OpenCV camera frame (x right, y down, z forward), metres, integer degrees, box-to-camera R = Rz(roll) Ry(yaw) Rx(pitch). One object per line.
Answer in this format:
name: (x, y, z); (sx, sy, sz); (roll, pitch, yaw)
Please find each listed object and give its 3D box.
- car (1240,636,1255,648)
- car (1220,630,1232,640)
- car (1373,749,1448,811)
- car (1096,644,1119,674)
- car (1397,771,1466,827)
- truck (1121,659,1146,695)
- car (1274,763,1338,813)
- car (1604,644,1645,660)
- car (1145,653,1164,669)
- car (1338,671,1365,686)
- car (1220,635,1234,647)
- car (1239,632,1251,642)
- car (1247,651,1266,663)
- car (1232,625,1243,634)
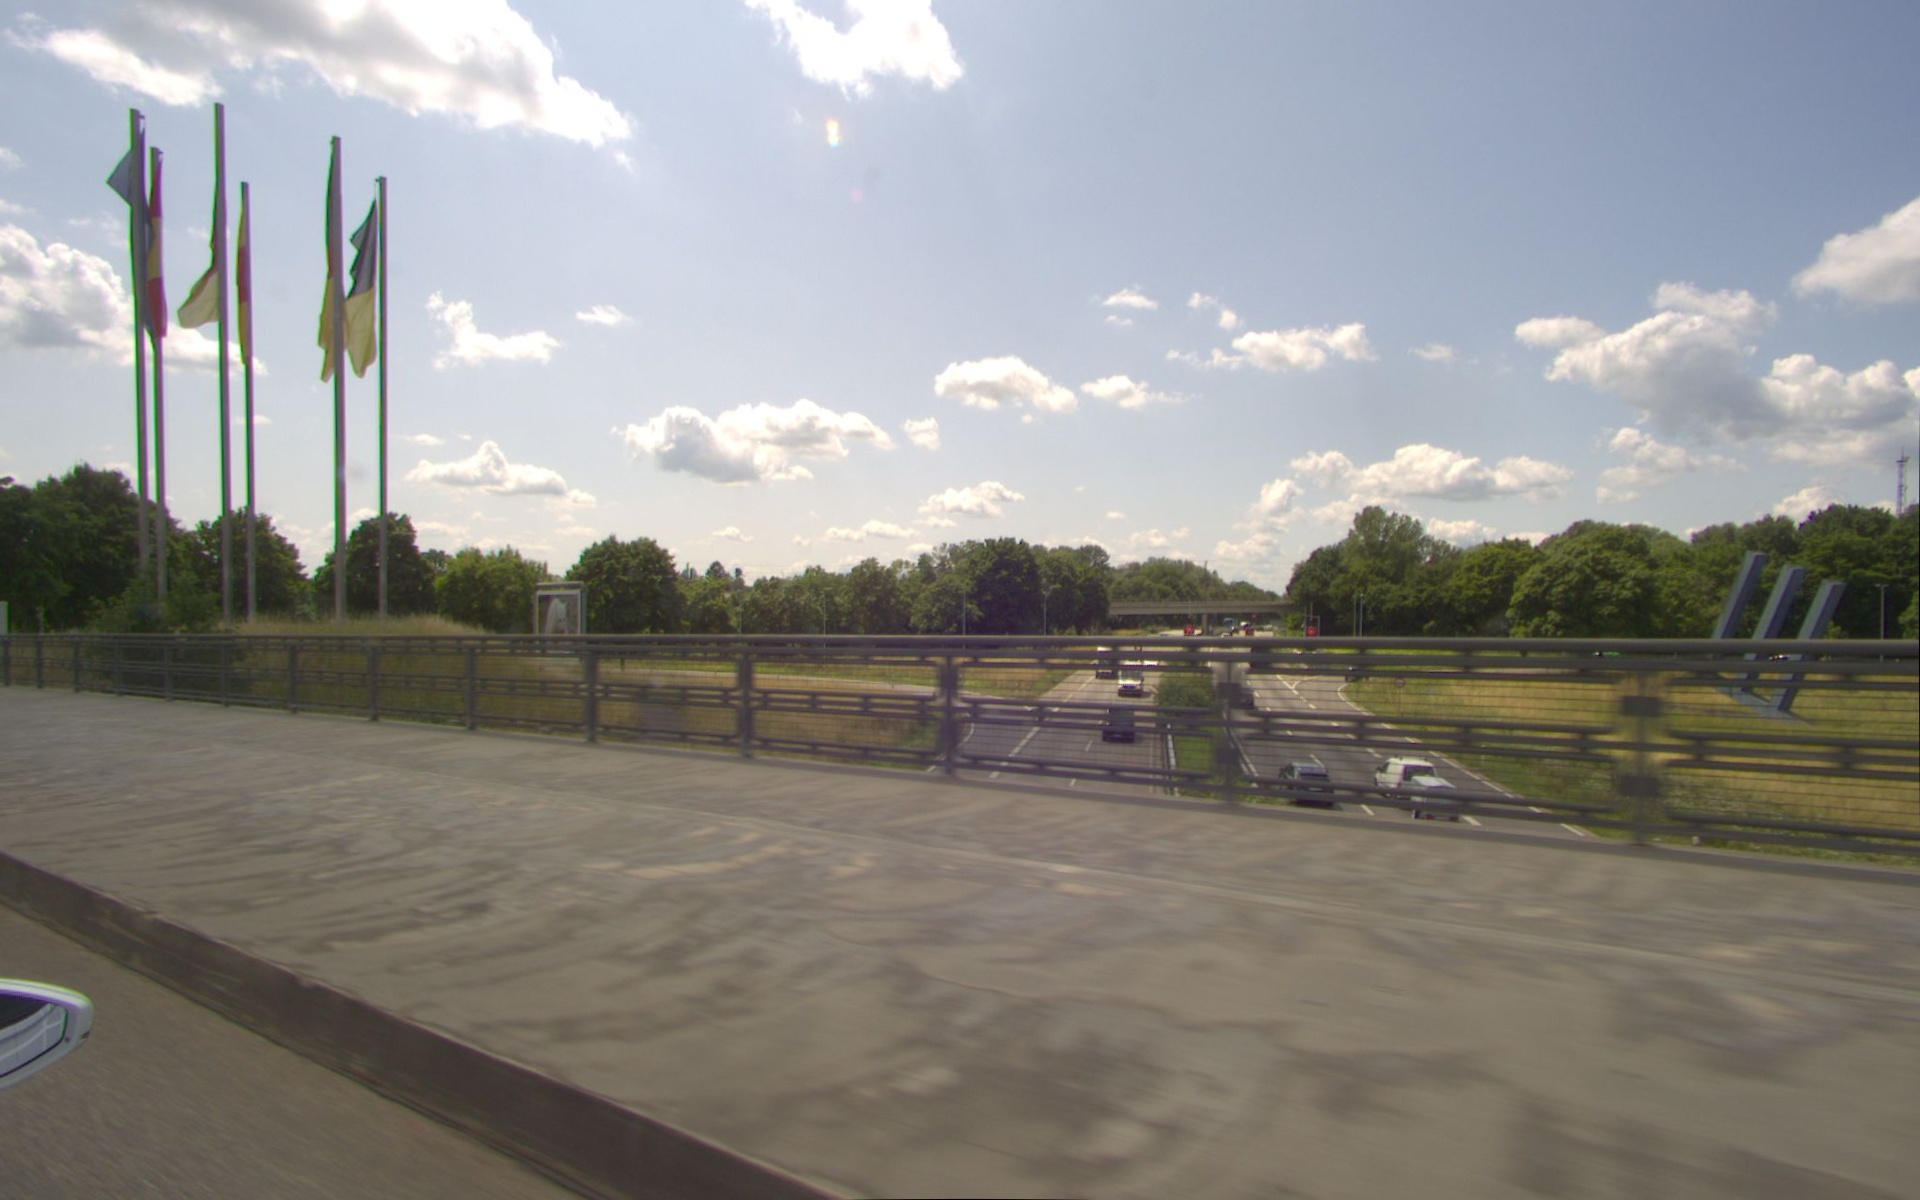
car: (48.753, 7.134, 169.670); (1.962, 2.039, 4.000); (1, -1, 10)
car: (53.820, 7.058, 202.662); (1.962, 2.039, 4.000); (1, -1, 10)
car: (18.385, 7.312, 41.046); (1.962, 1.861, 3.999); (1, -2, 12)
car: (15.164, 6.048, 102.849); (1.962, 2.937, 3.999); (1, -1, 12)
car: (17.626, 7.424, 37.536); (1.631, 1.490, 3.146); (1, -1, 12)
truck: (15.109, 6.636, 87.267); (1.962, 2.736, 6.618); (1, -2, 10)
car: (13.851, 7.506, 40.279); (1.962, 1.304, 3.999); (1, -2, 12)
car: (82.650, 6.448, 124.501); (3.959, 1.906, 1.982); (0, -2, 45)
car: (22.395, 6.999, 115.314); (1.962, 1.765, 3.999); (1, -2, 12)
car: (41.063, 8.188, 105.094); (1.962, 1.304, 3.999); (1, -2, 12)
car: (47.302, 7.305, 177.564); (1.962, 2.039, 4.000); (1, -1, 10)
car: (61.391, 7.976, 215.907); (1.962, 2.039, 4.000); (1, -1, 10)
car: (35.635, 6.853, 120.382); (1.962, 1.304, 3.999); (1, -2, 12)
car: (63.718, 6.722, 230.120); (1.962, 2.039, 4.000); (1, -1, 10)
